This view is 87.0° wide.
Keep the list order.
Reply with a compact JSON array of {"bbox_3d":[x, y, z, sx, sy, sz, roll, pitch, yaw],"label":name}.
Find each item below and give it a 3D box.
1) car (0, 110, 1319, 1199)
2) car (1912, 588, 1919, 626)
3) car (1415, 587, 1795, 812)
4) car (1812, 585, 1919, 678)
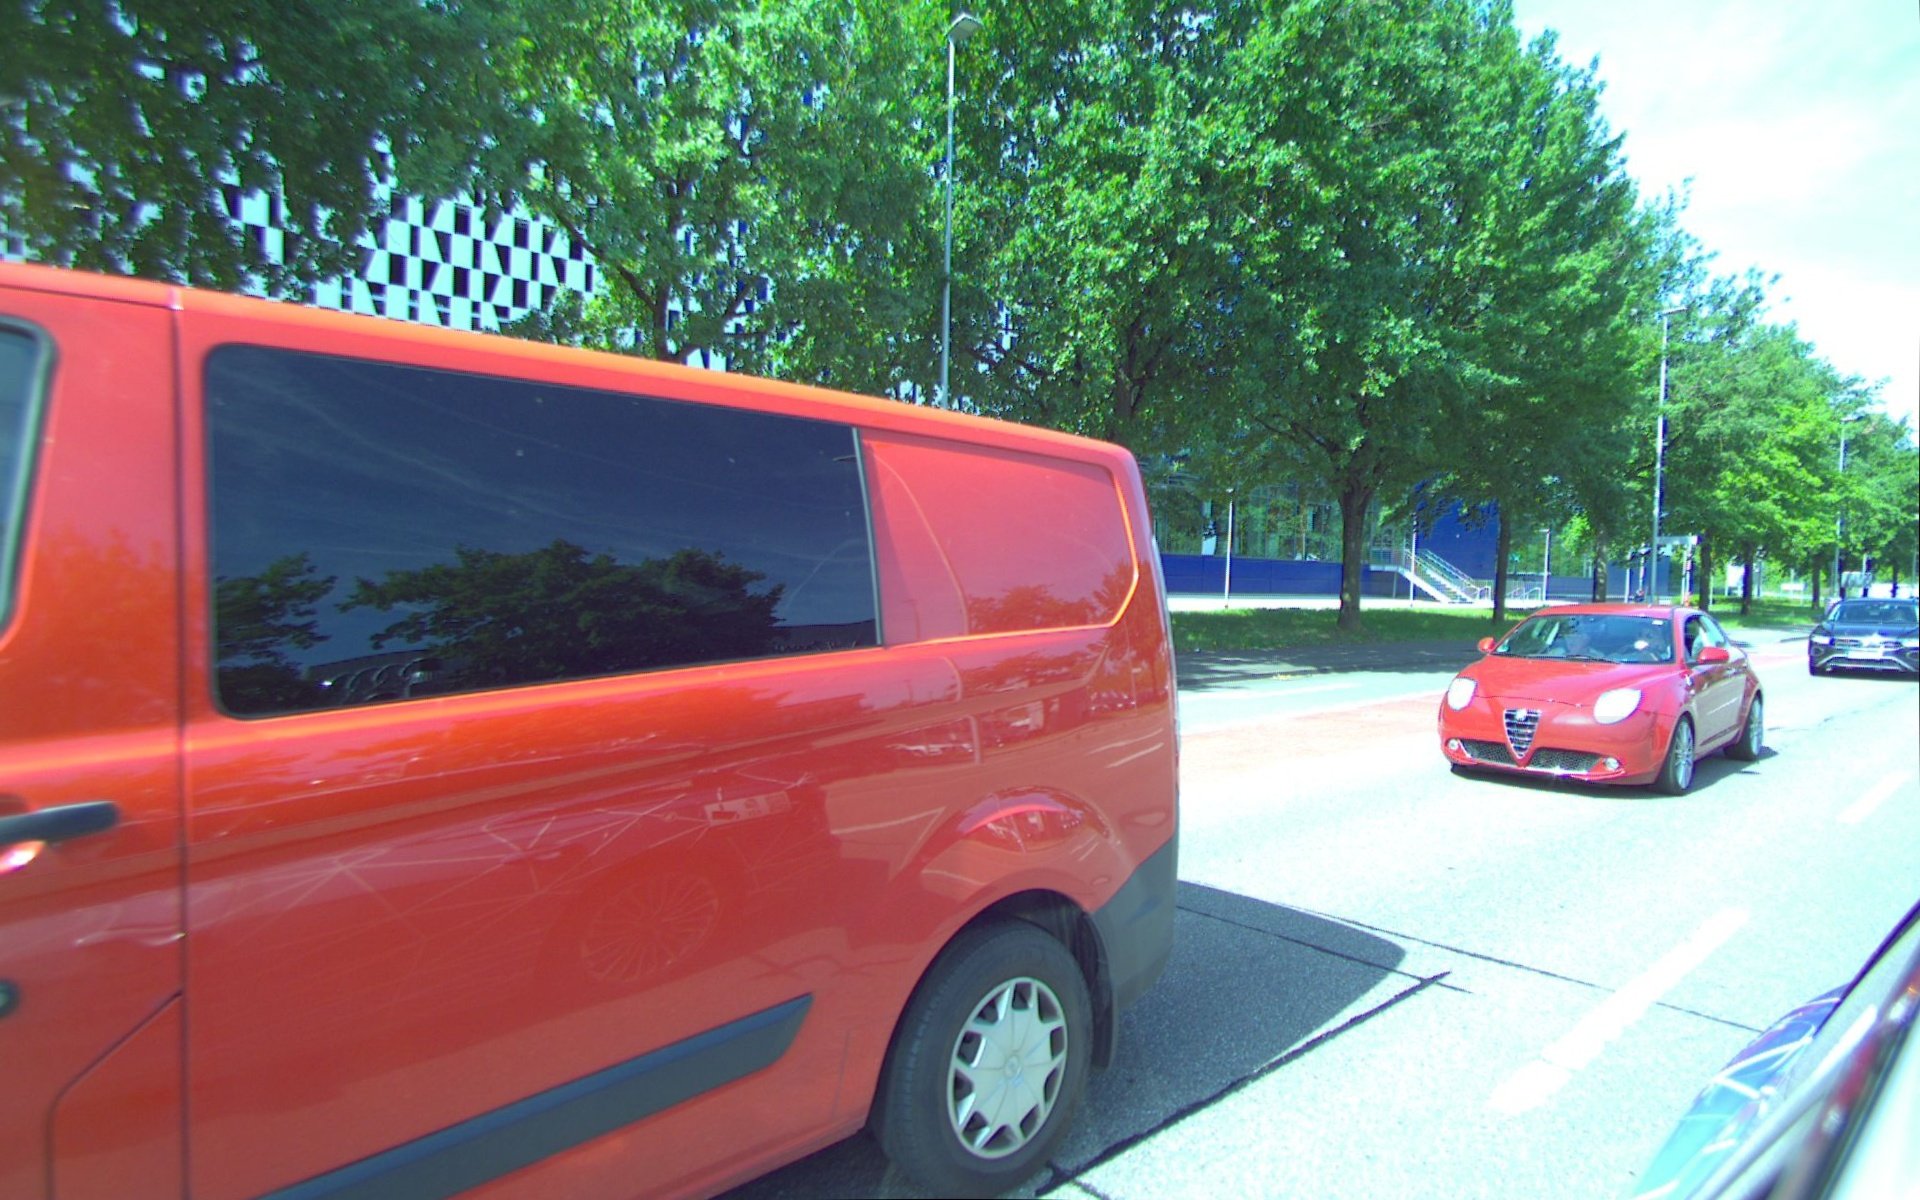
[{"bbox_3d":[-1.409,0.389,2.297,5.036,1.992,1.971,0,1,-41],"label":"car"},{"bbox_3d":[53.204,0.445,53.374,1.960,2.039,4.004,1,1,-5],"label":"car"},{"bbox_3d":[5.751,0.653,8.840,3.911,1.472,1.796,-1,2,-42],"label":"car"},{"bbox_3d":[18.427,0.563,19.934,4.039,1.662,1.823,0,1,-40],"label":"car"}]
